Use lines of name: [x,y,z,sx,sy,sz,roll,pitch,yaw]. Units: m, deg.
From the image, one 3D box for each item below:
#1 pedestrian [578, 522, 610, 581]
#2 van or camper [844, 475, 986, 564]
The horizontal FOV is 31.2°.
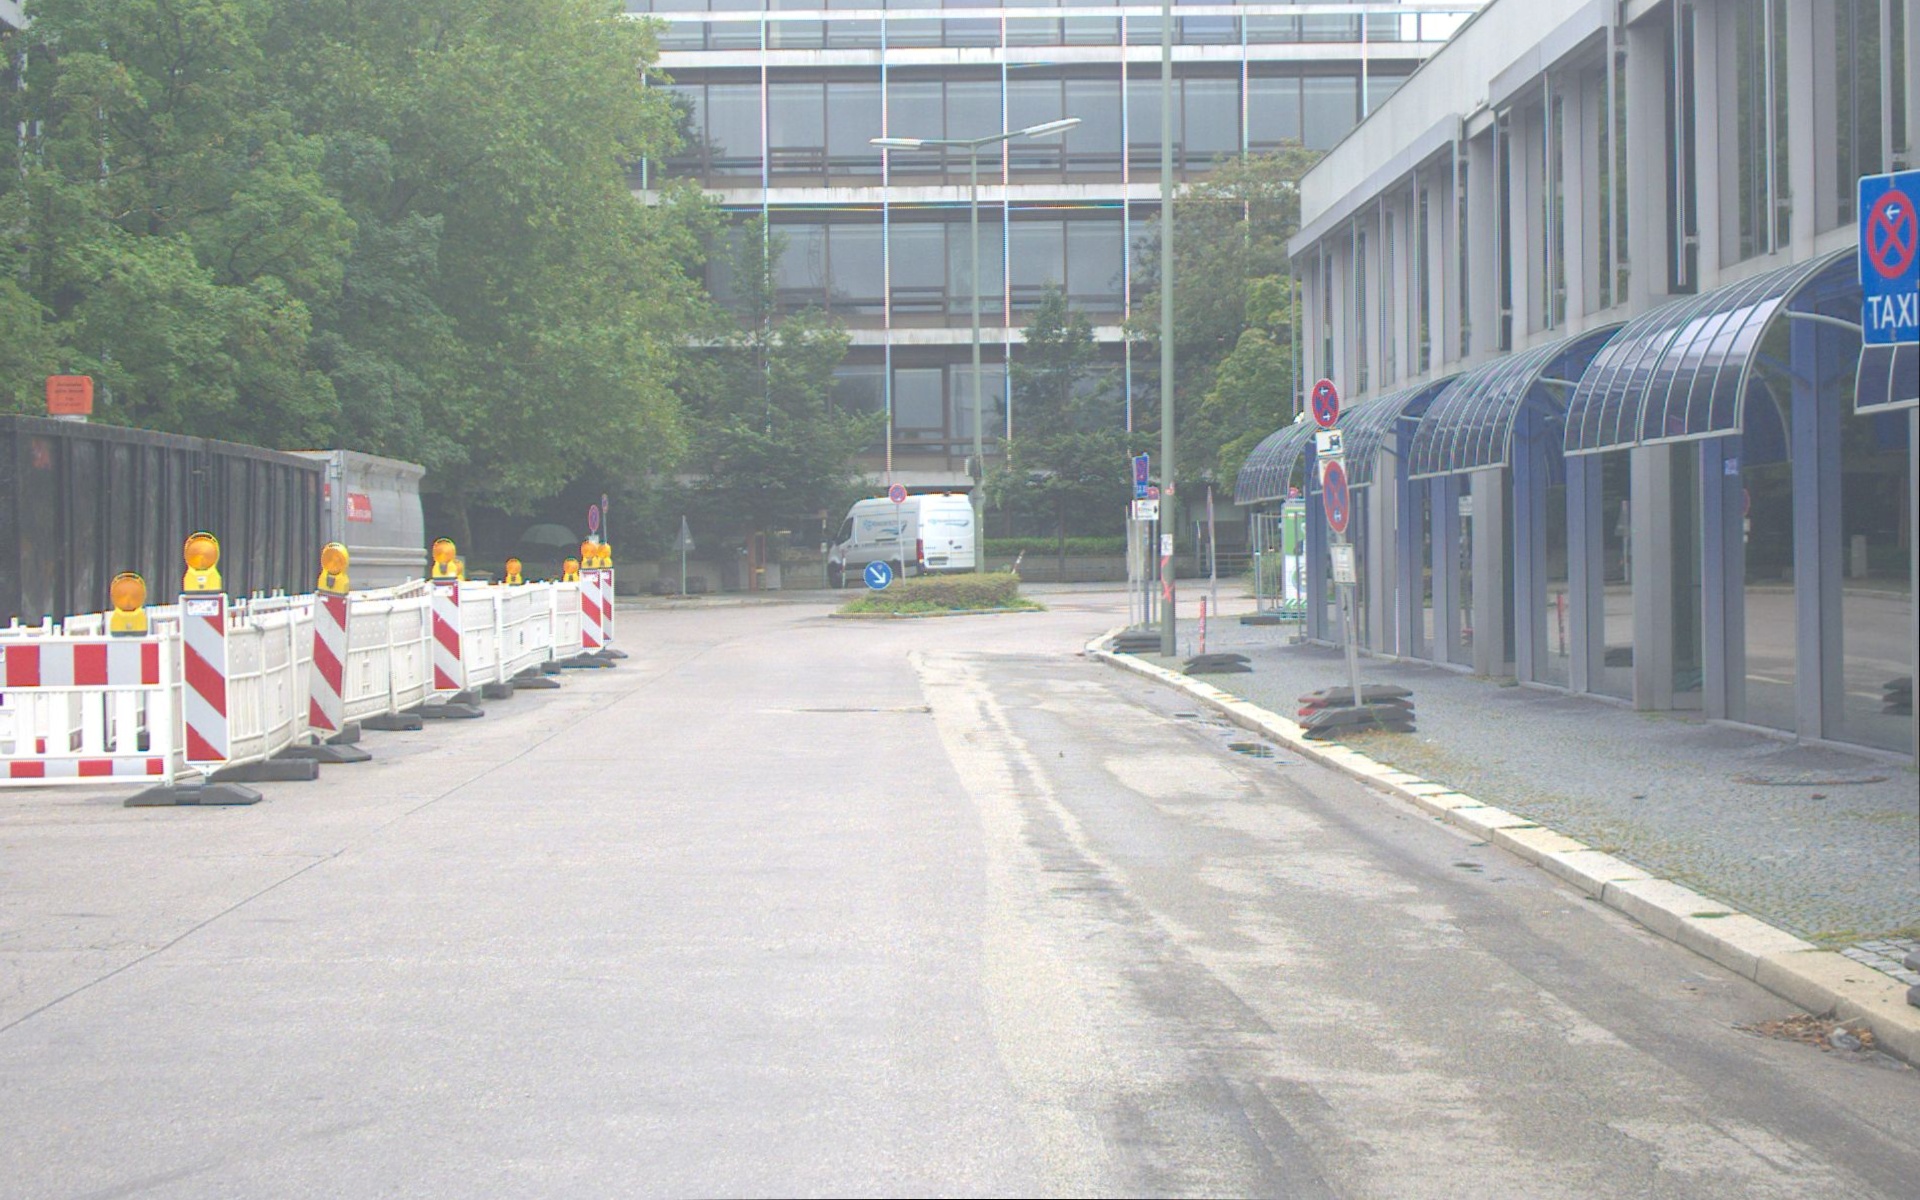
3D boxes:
pedestrian: [-10.355,-1.375,97.299,0.741,1.671,0.682,-1,1,-20]
van or camper: [-1.330,-2.306,98.606,2.085,2.483,5.068,-1,1,-26]
